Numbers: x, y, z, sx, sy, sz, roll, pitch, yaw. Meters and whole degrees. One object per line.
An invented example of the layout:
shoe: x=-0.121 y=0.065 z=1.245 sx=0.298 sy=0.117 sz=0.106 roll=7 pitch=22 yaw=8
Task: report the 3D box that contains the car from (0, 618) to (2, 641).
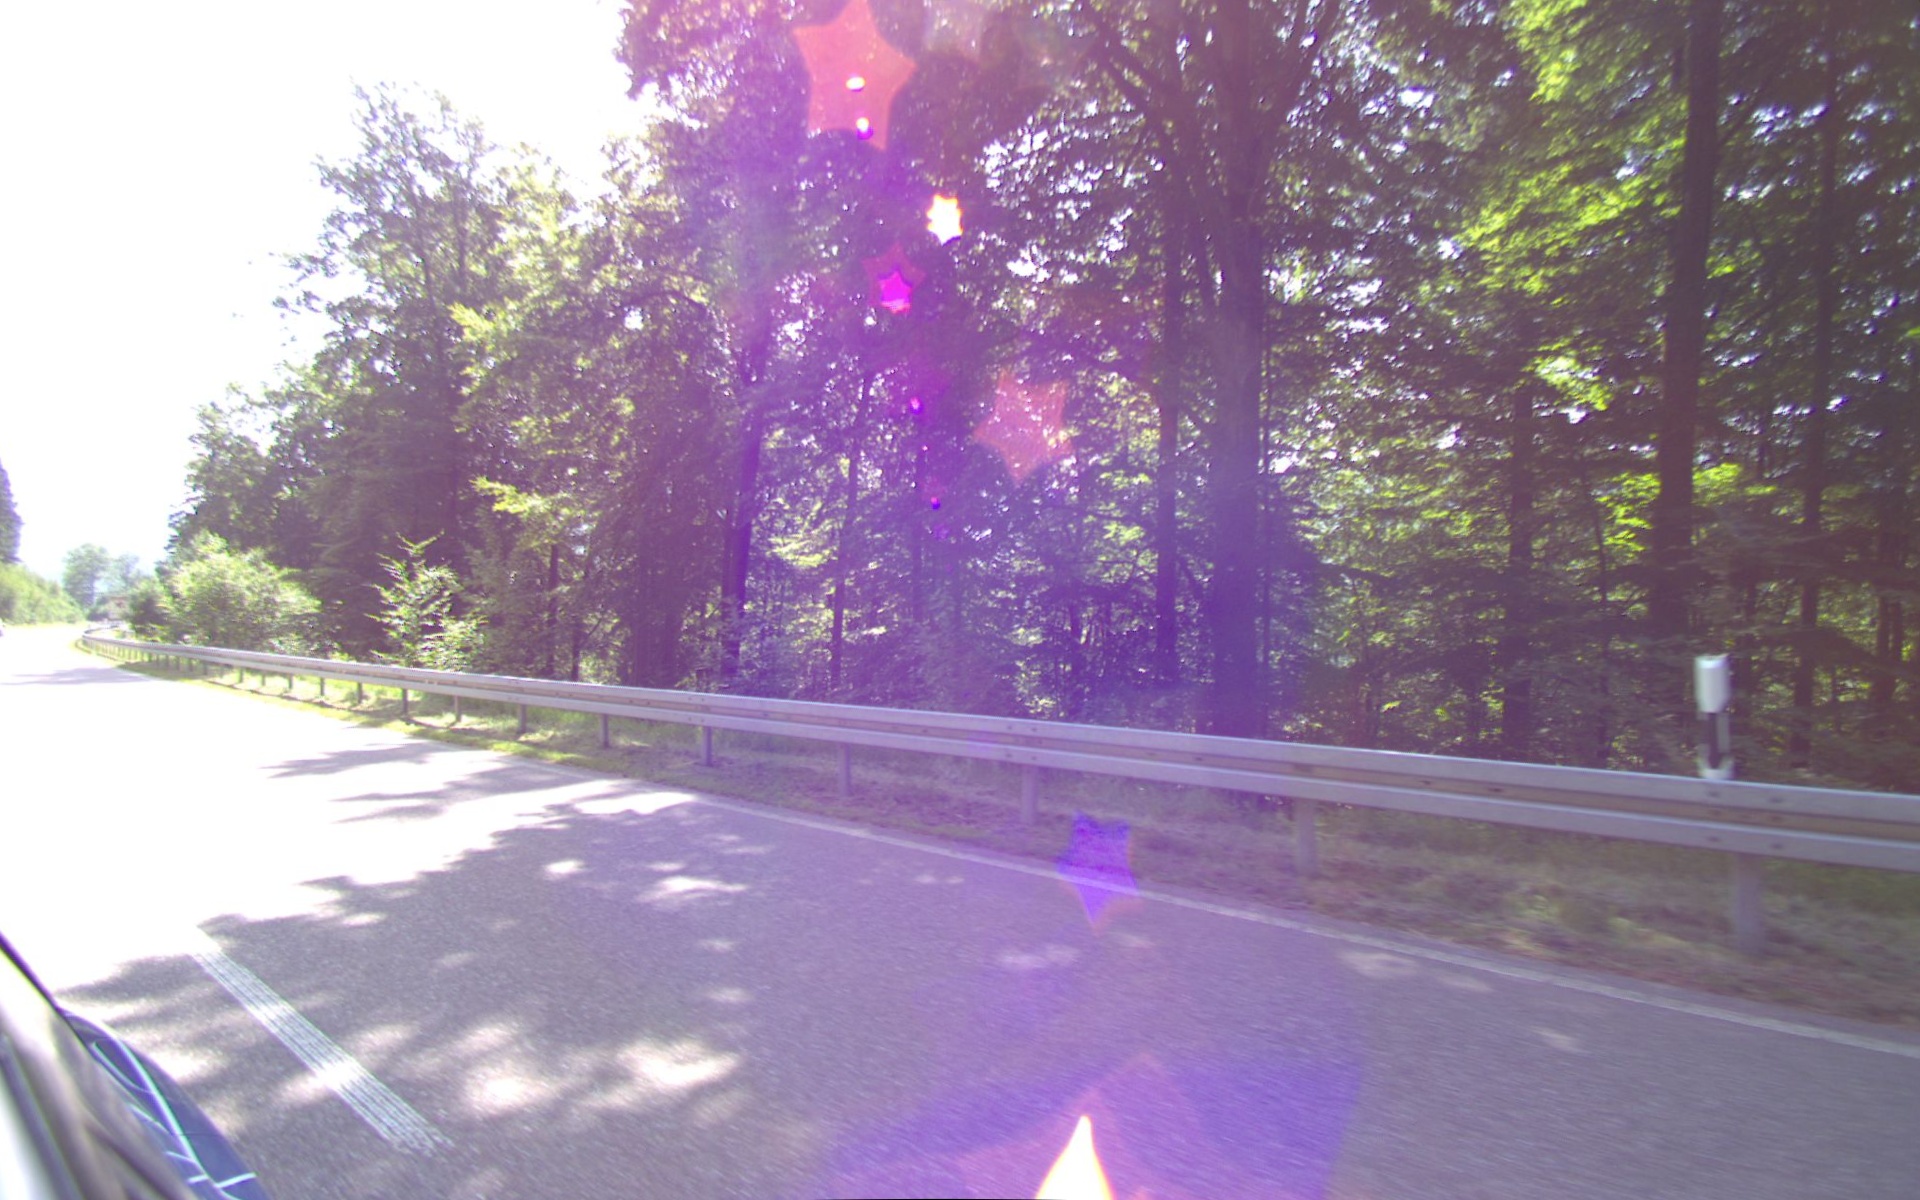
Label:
car: x=-73.366 y=2.231 z=75.857 sx=1.968 sy=1.741 sz=4.007 roll=0 pitch=-1 yaw=-39
